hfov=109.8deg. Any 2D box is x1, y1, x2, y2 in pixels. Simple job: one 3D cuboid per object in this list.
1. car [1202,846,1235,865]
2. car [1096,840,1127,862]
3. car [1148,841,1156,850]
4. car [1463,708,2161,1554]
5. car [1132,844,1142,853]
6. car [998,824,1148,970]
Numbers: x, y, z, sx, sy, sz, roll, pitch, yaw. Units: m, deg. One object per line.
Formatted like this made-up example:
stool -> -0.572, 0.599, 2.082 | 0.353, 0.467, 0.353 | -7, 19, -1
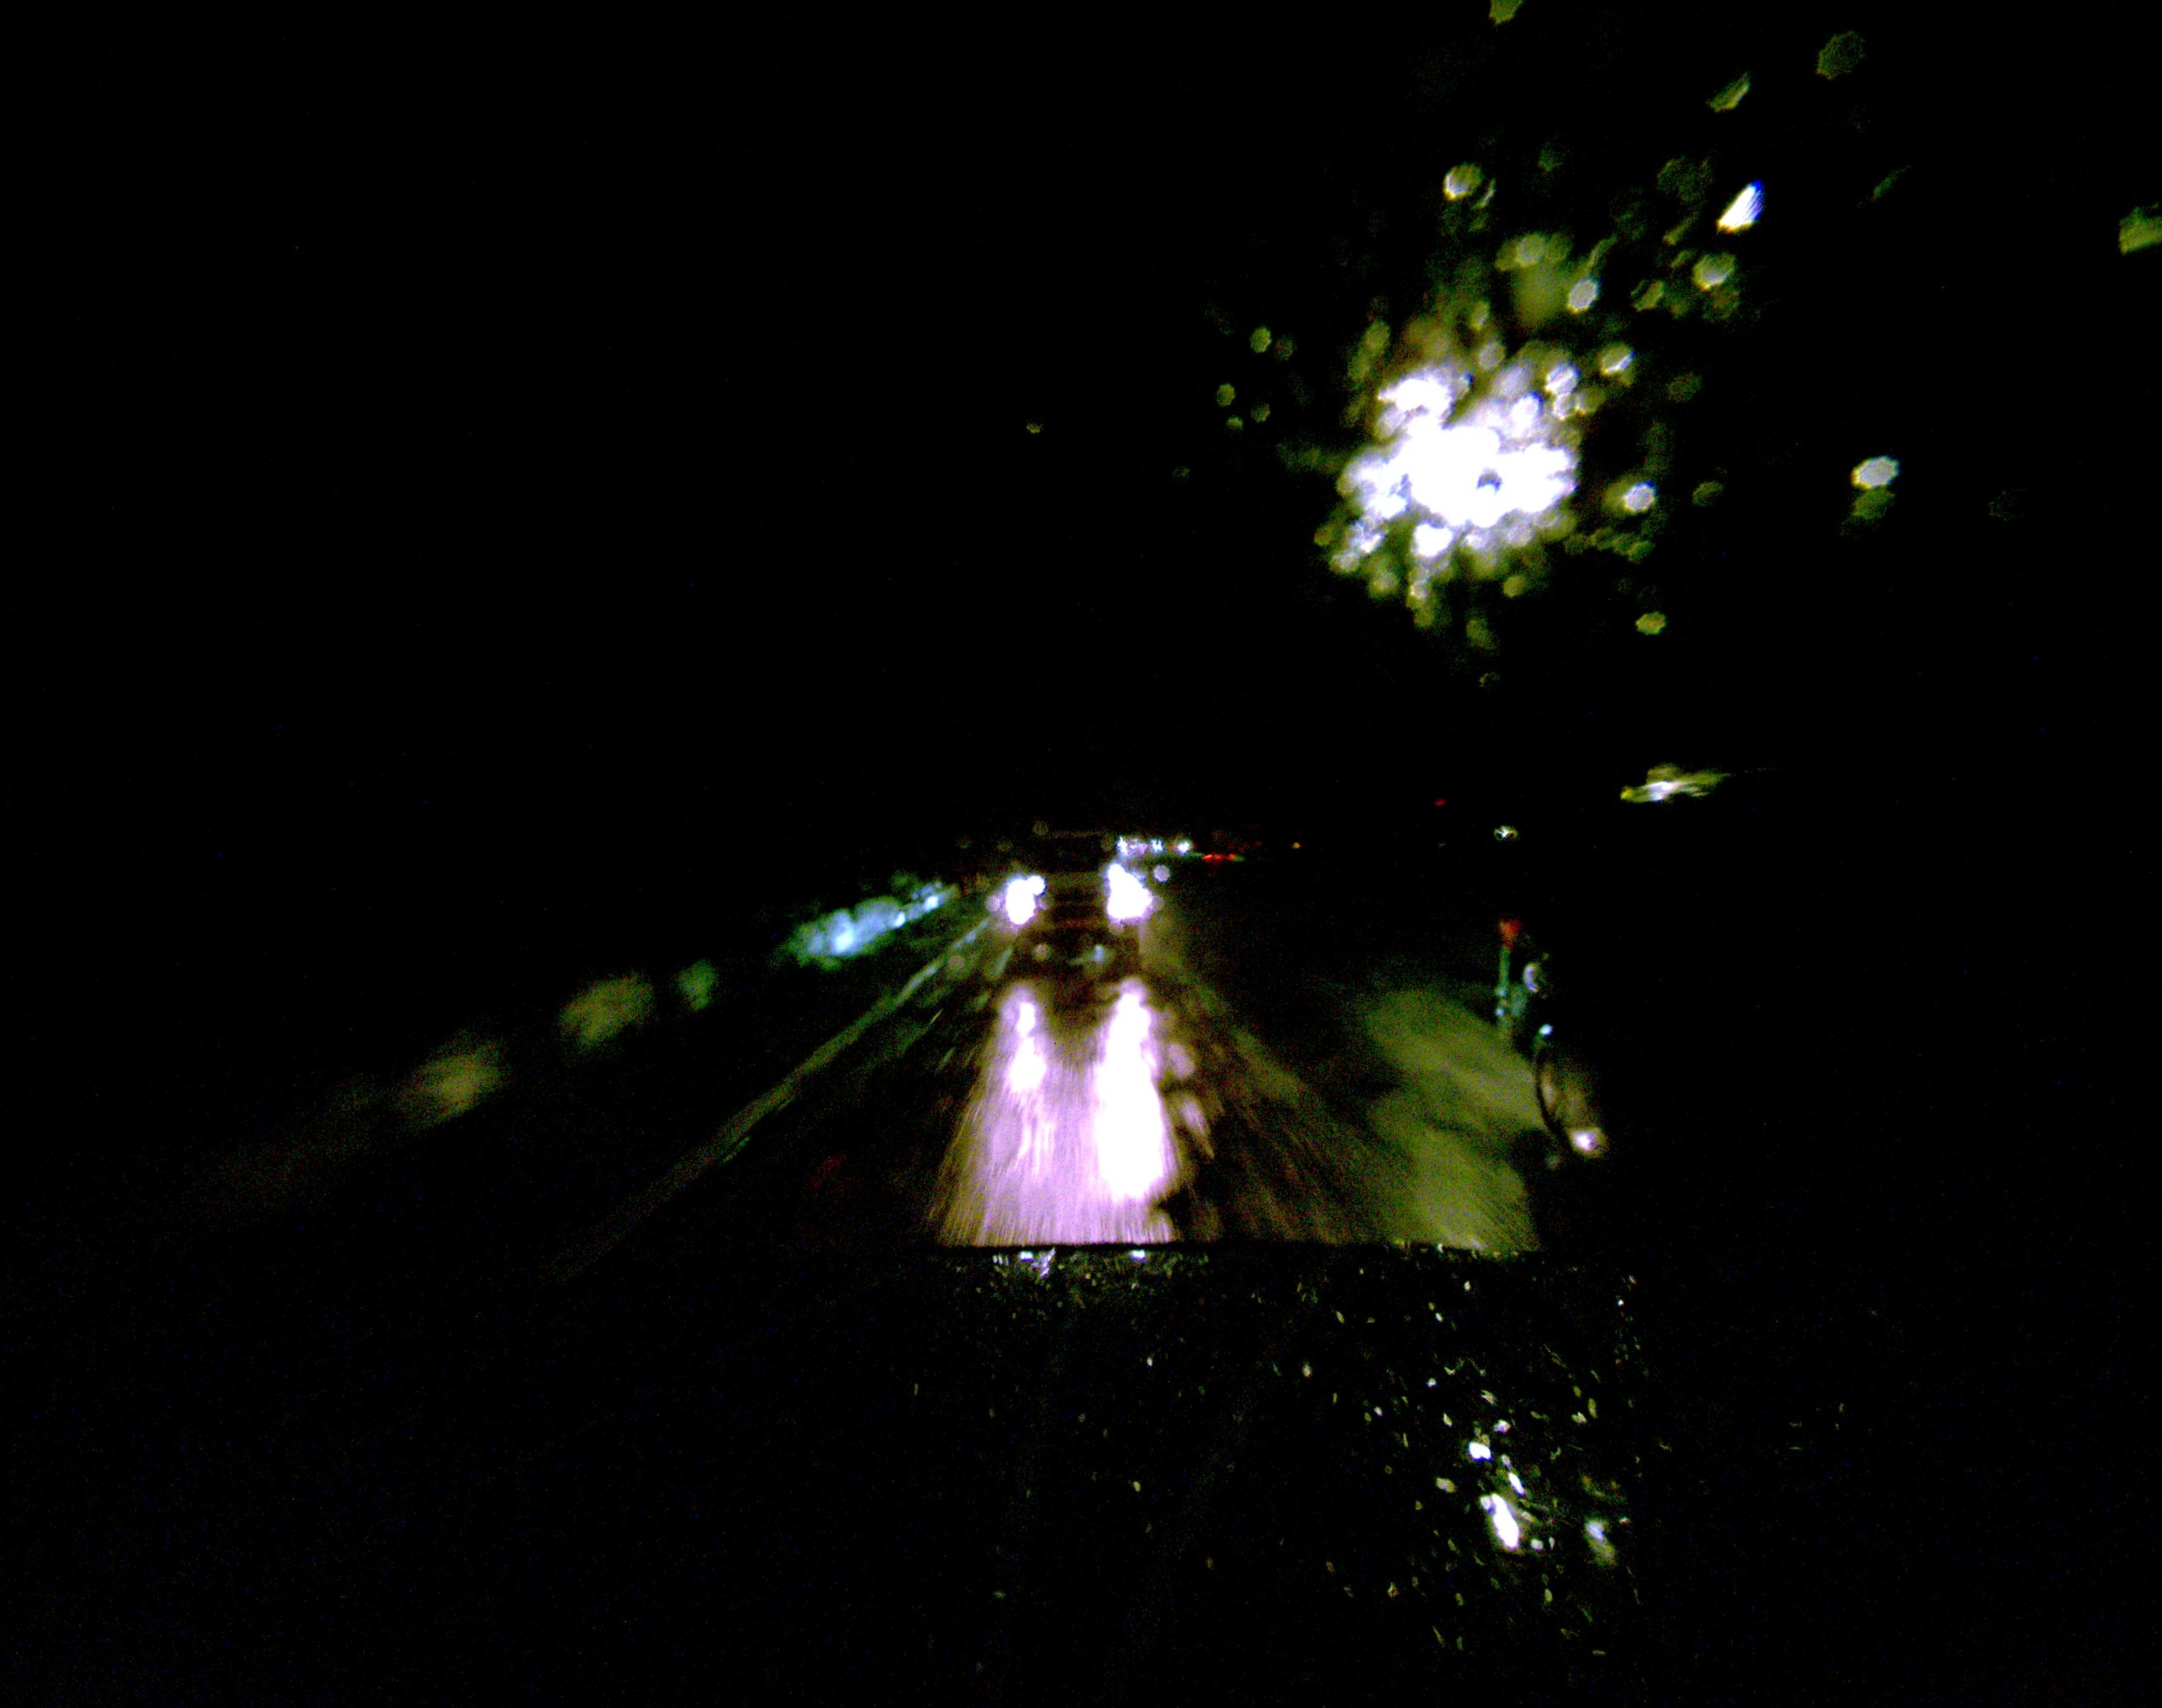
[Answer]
car -> 11.788, 0.115, 65.428 | 1.658, 1.490, 4.372 | 1, 1, -5
car -> 2.187, -0.246, 54.728 | 1.999, 1.456, 3.998 | -2, 2, -1
car -> 17.380, -2.013, 185.813 | 1.997, 2.002, 4.001 | -1, 2, 7
car -> 3.108, 0.534, 1.795 | 1.914, 1.694, 4.938 | -1, 1, 0
car -> 10.196, -0.994, 138.555 | 1.750, 1.495, 4.892 | -1, 2, 2
car -> 0.019, 0.513, 11.776 | 1.877, 1.825, 4.205 | -1, 1, 3
